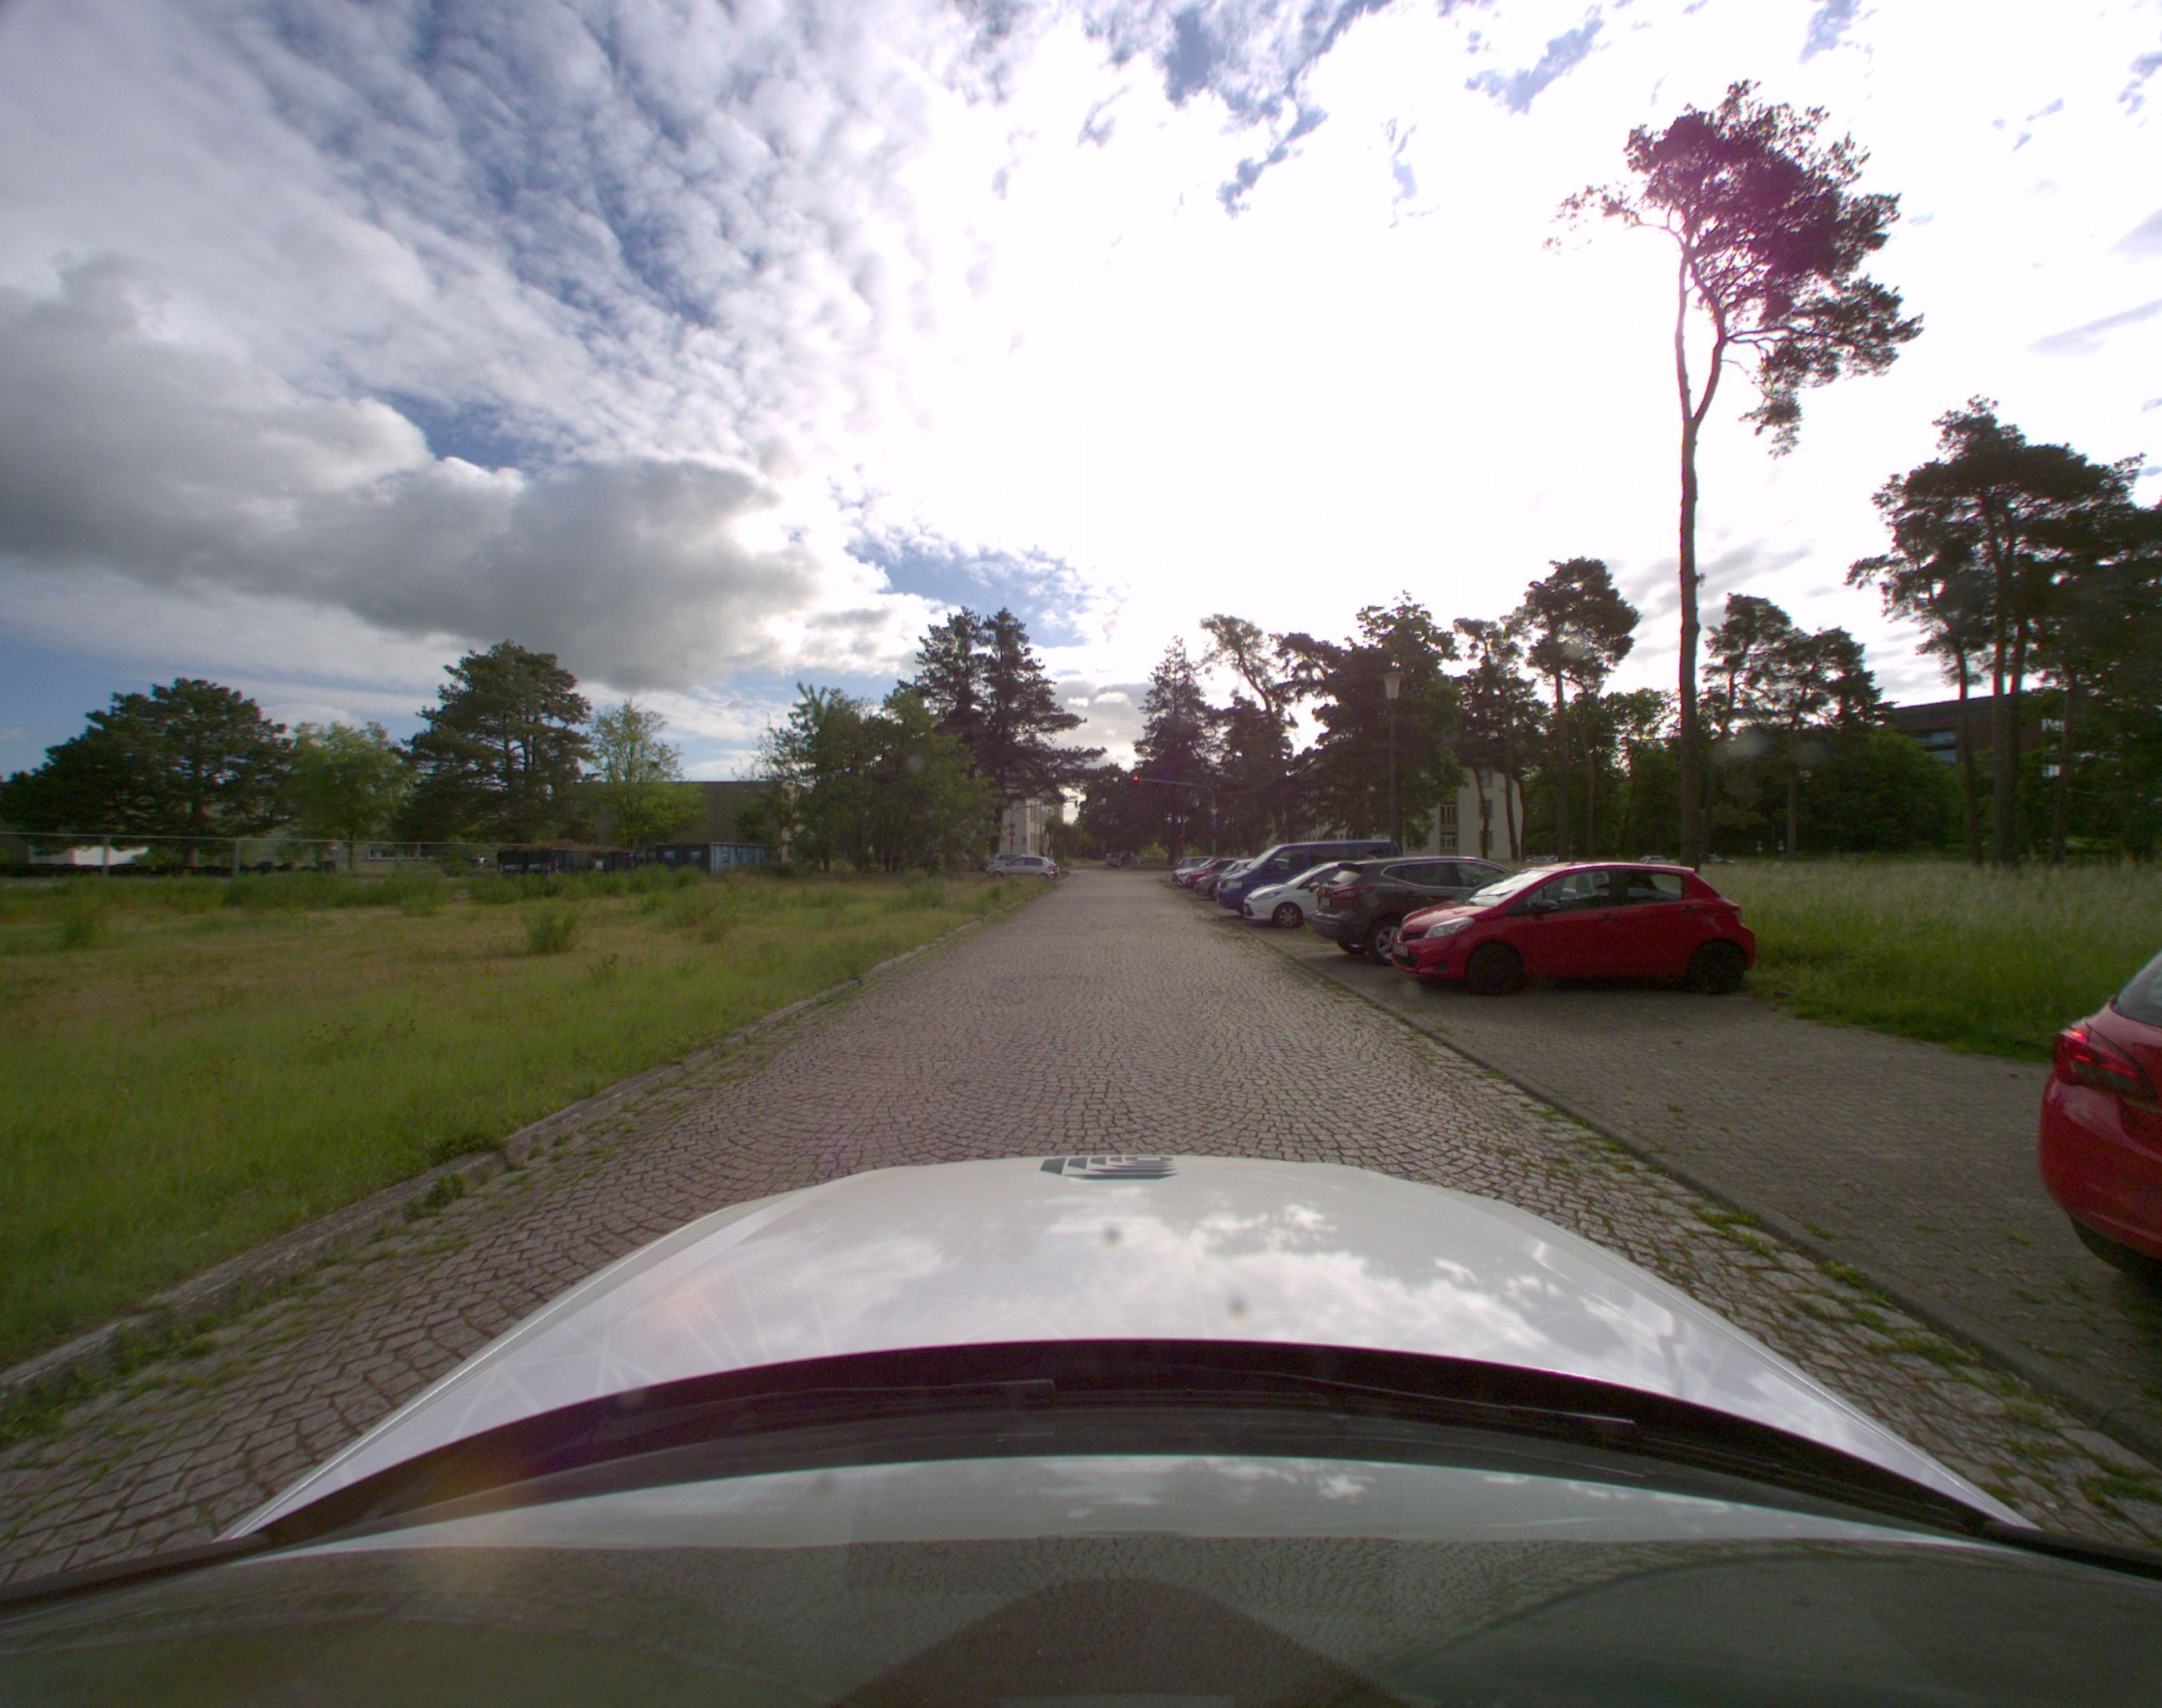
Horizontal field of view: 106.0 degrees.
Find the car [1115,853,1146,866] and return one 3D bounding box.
[{"bbox_3d":[6.619,0.720,108.915,3.979,1.644,1.997,0,0,-4],"label":"car"}]

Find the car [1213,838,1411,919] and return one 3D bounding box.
[{"bbox_3d":[5.999,0.611,21.493,4.767,2.040,1.738,0,0,0],"label":"car"}]

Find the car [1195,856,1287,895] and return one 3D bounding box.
[{"bbox_3d":[6.434,0.841,32.841,3.291,1.504,1.659,0,0,-9],"label":"car"}]

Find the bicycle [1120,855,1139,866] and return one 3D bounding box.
[{"bbox_3d":[5.663,0.812,94.969,2.156,1.268,0.811,0,0,-5],"label":"bicycle"}]

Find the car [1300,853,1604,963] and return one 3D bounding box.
[{"bbox_3d":[5.589,0.773,12.624,3.937,1.580,1.762,0,0,0],"label":"car"}]

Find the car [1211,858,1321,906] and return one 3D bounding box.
[{"bbox_3d":[6.071,0.893,26.999,3.282,1.504,1.664,0,0,0],"label":"car"}]

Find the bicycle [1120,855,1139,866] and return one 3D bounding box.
[{"bbox_3d":[5.644,0.805,94.382,2.156,1.268,0.811,0,0,-5],"label":"bicycle"}]

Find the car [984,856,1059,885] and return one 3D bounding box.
[{"bbox_3d":[-3.254,0.888,44.794,3.979,1.552,1.997,0,0,-4],"label":"car"}]

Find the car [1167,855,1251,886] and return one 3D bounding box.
[{"bbox_3d":[6.677,0.850,42.761,4.114,1.543,1.662,0,0,-4],"label":"car"}]

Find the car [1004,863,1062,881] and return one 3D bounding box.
[{"bbox_3d":[-3.096,1.160,52.581,3.664,1.094,1.644,0,0,-4],"label":"car"}]

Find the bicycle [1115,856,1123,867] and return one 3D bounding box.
[{"bbox_3d":[4.243,0.836,90.658,0.806,1.268,1.975,0,0,3],"label":"bicycle"}]

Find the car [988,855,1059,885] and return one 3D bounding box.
[{"bbox_3d":[-3.325,0.897,47.287,3.979,1.706,1.997,0,0,-4],"label":"car"}]

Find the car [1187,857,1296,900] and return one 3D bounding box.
[{"bbox_3d":[5.861,0.859,29.883,3.596,1.506,1.659,0,0,-9],"label":"car"}]

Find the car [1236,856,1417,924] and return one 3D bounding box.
[{"bbox_3d":[5.651,0.801,19.042,3.711,1.424,1.654,-1,0,-1],"label":"car"}]

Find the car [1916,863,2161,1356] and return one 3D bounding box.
[{"bbox_3d":[5.266,0.776,2.396,3.826,1.505,1.738,-1,0,1],"label":"car"}]

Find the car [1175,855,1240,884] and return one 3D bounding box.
[{"bbox_3d":[7.007,0.857,45.324,3.382,1.543,1.389,0,0,-4],"label":"car"}]

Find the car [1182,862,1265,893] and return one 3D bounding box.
[{"bbox_3d":[6.176,1.008,35.472,3.285,1.267,1.662,0,0,-4],"label":"car"}]

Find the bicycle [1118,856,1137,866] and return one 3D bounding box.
[{"bbox_3d":[5.475,0.822,96.189,2.156,1.268,0.811,0,0,-5],"label":"bicycle"}]

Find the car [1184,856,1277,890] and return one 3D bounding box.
[{"bbox_3d":[6.886,0.864,37.702,3.979,1.543,1.662,0,0,-4],"label":"car"}]

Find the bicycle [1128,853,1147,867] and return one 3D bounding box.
[{"bbox_3d":[6.620,0.663,95.655,2.156,1.616,0.811,0,0,-5],"label":"bicycle"}]

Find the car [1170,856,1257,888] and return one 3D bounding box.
[{"bbox_3d":[6.465,0.863,40.018,3.979,1.543,1.662,0,0,-4],"label":"car"}]

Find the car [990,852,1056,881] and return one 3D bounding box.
[{"bbox_3d":[-3.602,0.737,50.216,3.980,1.750,1.924,0,0,-5],"label":"car"}]

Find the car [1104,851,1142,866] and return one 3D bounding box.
[{"bbox_3d":[5.788,0.608,112.219,5.048,2.013,1.994,0,0,-9],"label":"car"}]

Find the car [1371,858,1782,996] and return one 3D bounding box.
[{"bbox_3d":[5.829,0.821,9.964,3.972,1.518,1.739,0,0,2],"label":"car"}]
